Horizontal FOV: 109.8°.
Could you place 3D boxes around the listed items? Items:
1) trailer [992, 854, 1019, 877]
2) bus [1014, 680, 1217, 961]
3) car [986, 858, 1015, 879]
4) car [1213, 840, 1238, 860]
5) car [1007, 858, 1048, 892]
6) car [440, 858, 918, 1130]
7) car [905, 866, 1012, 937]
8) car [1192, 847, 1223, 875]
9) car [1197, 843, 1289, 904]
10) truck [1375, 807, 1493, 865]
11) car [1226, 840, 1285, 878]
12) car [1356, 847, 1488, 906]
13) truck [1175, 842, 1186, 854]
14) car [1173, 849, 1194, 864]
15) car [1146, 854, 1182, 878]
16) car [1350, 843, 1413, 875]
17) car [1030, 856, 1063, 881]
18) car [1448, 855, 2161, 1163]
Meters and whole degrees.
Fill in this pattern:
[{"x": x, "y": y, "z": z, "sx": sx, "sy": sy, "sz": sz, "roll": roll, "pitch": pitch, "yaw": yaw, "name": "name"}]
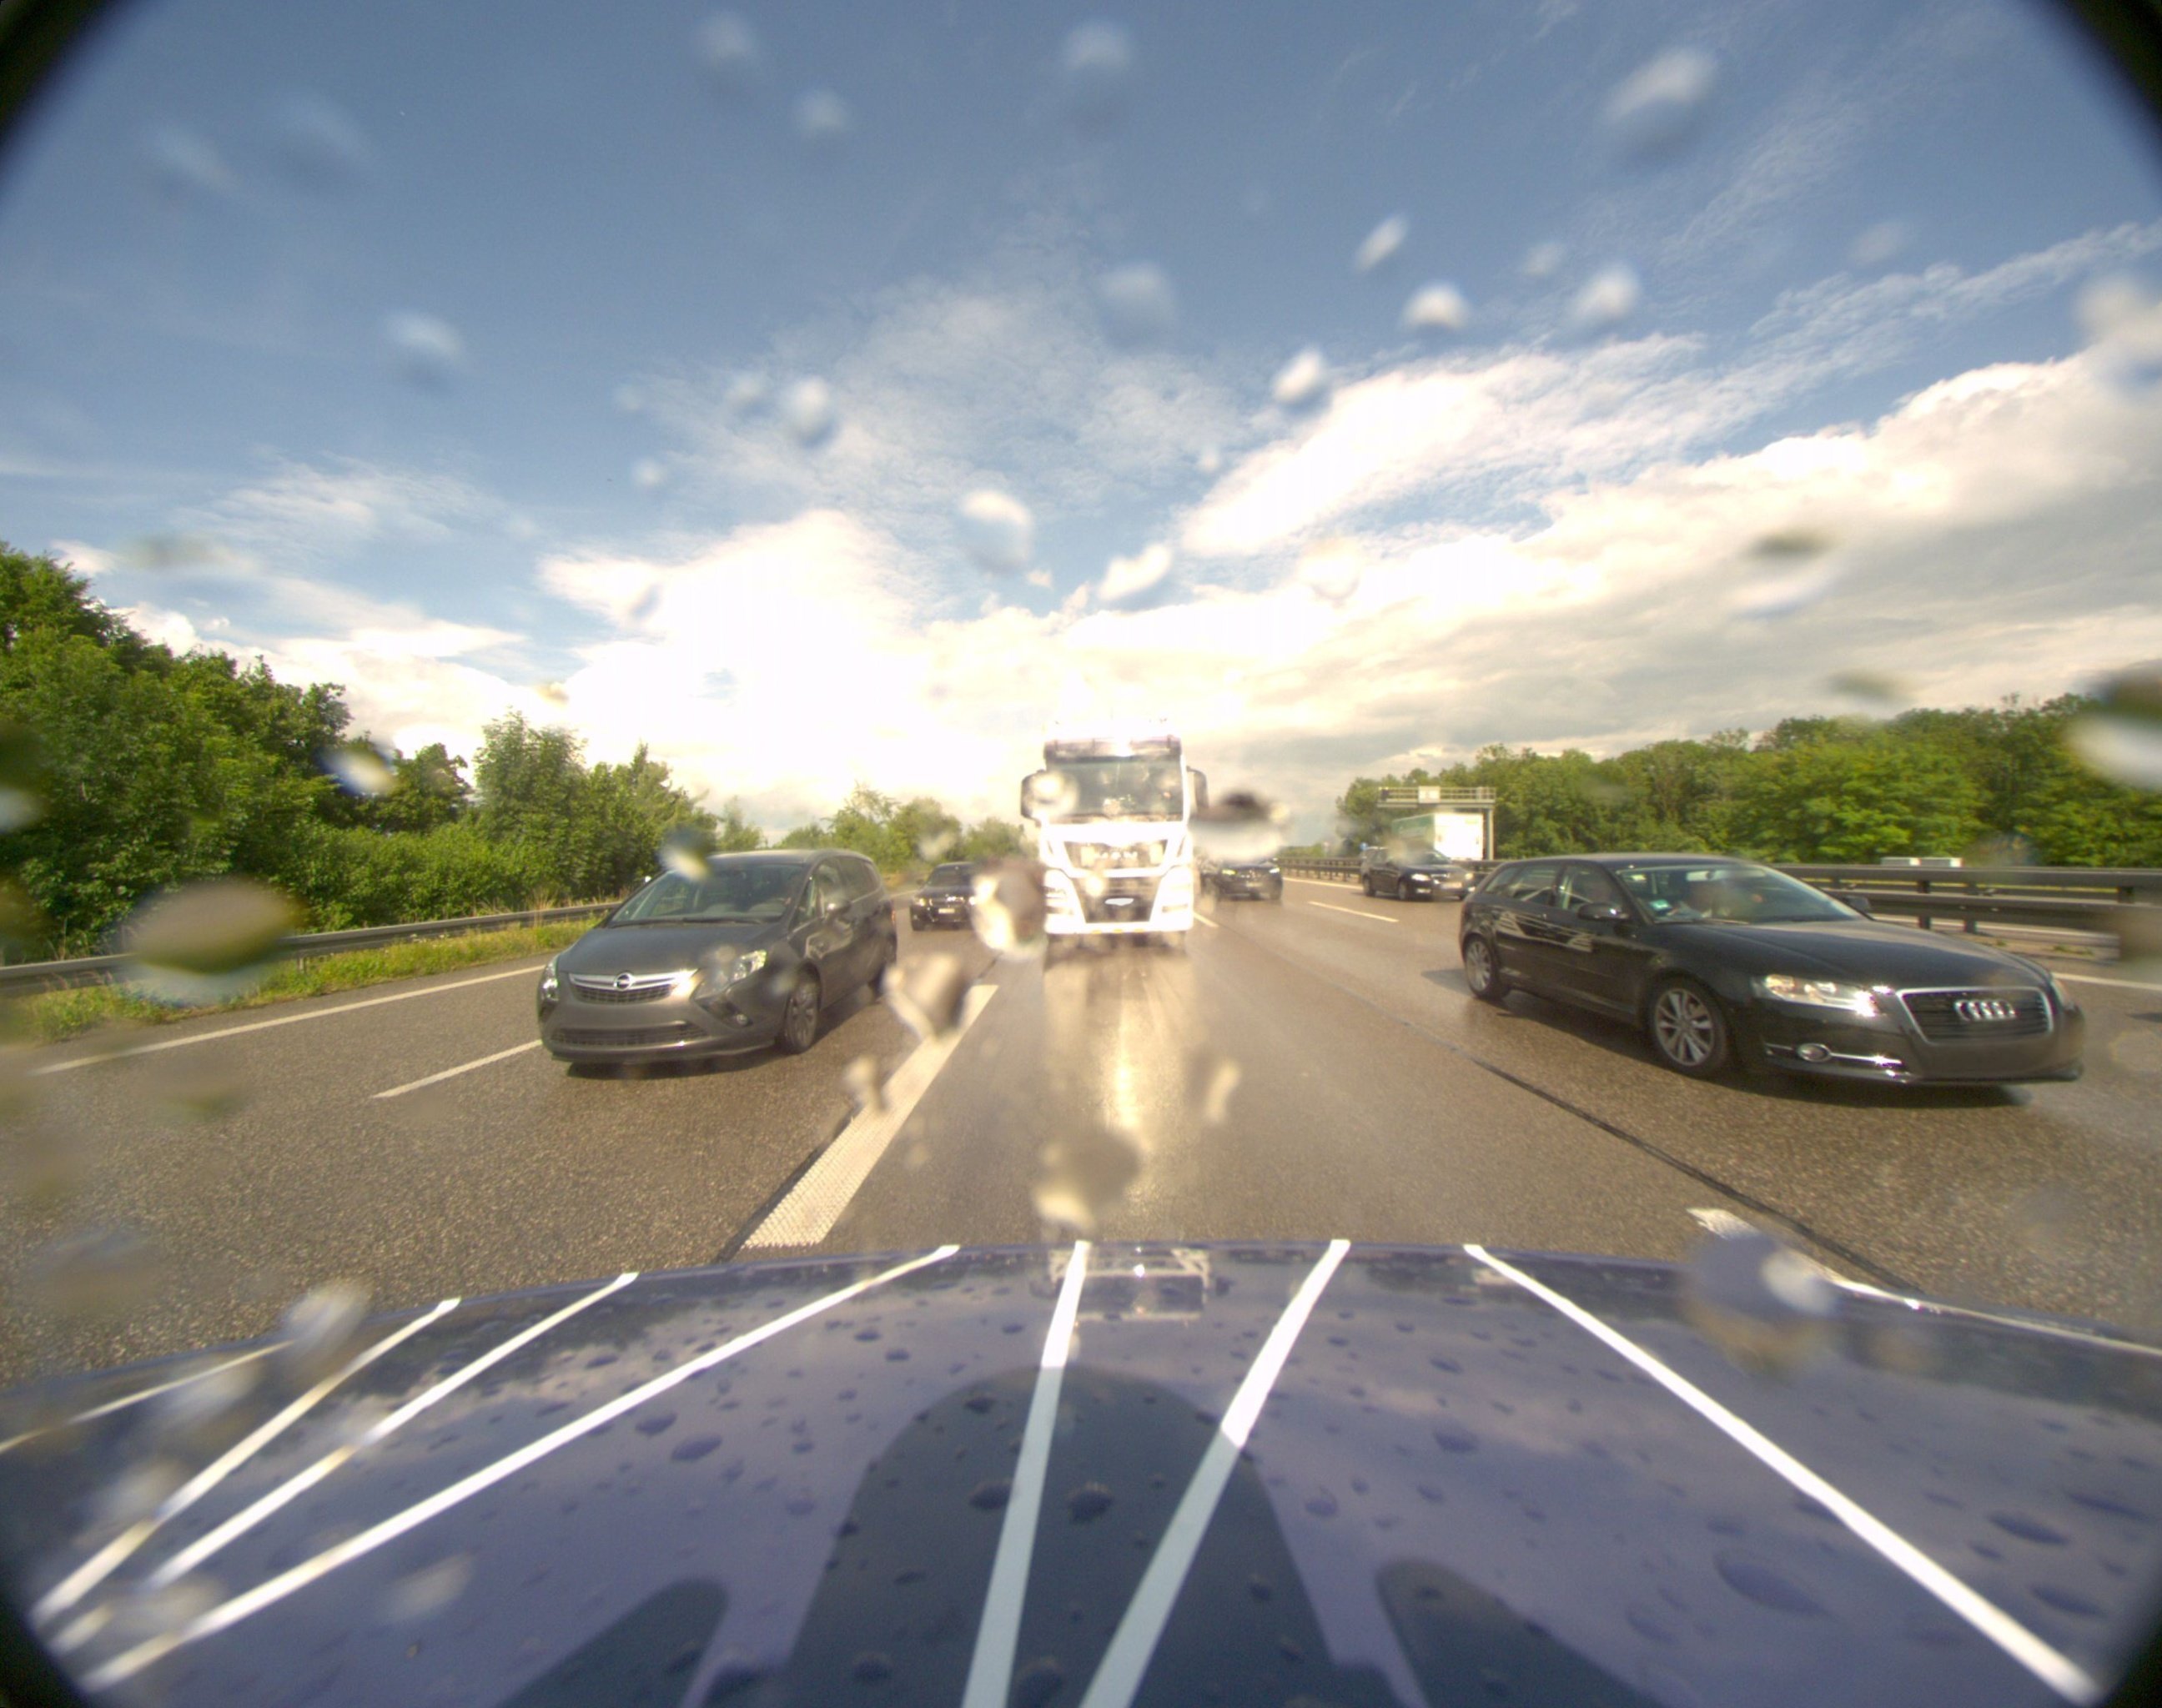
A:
[{"x": -6.228, "y": 0.937, "z": 62.852, "sx": 1.810, "sy": 1.736, "sz": 3.967, "roll": -3, "pitch": 1, "yaw": 0, "name": "trailer"}, {"x": 0.592, "y": -0.517, "z": 16.296, "sx": 2.904, "sy": 4.104, "sz": 9.845, "roll": -2, "pitch": 0, "yaw": 1, "name": "bus"}, {"x": -6.172, "y": 1.099, "z": 58.681, "sx": 1.747, "sy": 1.422, "sz": 4.404, "roll": -2, "pitch": 0, "yaw": -1, "name": "car"}, {"x": 18.259, "y": -0.473, "z": 96.260, "sx": 2.119, "sy": 2.382, "sz": 6.102, "roll": -2, "pitch": 0, "yaw": 1, "name": "car"}, {"x": -2.399, "y": 0.907, "z": 34.567, "sx": 1.744, "sy": 1.357, "sz": 3.999, "roll": -2, "pitch": 0, "yaw": -3, "name": "car"}, {"x": -3.042, "y": 0.900, "z": 7.160, "sx": 1.858, "sy": 1.622, "sz": 4.735, "roll": -2, "pitch": 0, "yaw": 1, "name": "car"}, {"x": -2.681, "y": 0.994, "z": 17.455, "sx": 1.722, "sy": 1.346, "sz": 3.884, "roll": -2, "pitch": 0, "yaw": 1, "name": "car"}, {"x": 7.461, "y": 0.376, "z": 44.998, "sx": 1.409, "sy": 1.588, "sz": 2.830, "roll": -2, "pitch": 0, "yaw": 1, "name": "car"}, {"x": 4.925, "y": 0.527, "z": 23.689, "sx": 1.881, "sy": 1.669, "sz": 4.626, "roll": -2, "pitch": 0, "yaw": 1, "name": "car"}, {"x": 20.557, "y": -1.004, "z": 44.998, "sx": 2.923, "sy": 2.970, "sz": 8.721, "roll": -2, "pitch": 1, "yaw": 0, "name": "truck"}, {"x": 9.457, "y": 0.238, "z": 41.609, "sx": 1.998, "sy": 1.906, "sz": 5.235, "roll": -2, "pitch": 0, "yaw": 0, "name": "car"}, {"x": 9.387, "y": 0.552, "z": 21.343, "sx": 1.924, "sy": 1.416, "sz": 4.373, "roll": -2, "pitch": 1, "yaw": 3, "name": "car"}, {"x": 33.111, "y": -1.961, "z": 252.994, "sx": 2.799, "sy": 3.861, "sz": 8.919, "roll": -2, "pitch": 0, "yaw": 3, "name": "truck"}, {"x": 10.302, "y": 0.233, "z": 76.473, "sx": 1.618, "sy": 1.412, "sz": 4.000, "roll": -2, "pitch": 0, "yaw": 1, "name": "car"}, {"x": 5.063, "y": 0.698, "z": 46.841, "sx": 1.809, "sy": 1.389, "sz": 4.240, "roll": -1, "pitch": 0, "yaw": 1, "name": "car"}, {"x": 16.917, "y": 0.256, "z": 43.002, "sx": 1.770, "sy": 1.633, "sz": 4.246, "roll": -2, "pitch": 0, "yaw": -2, "name": "car"}, {"x": -2.131, "y": 0.882, "z": 47.999, "sx": 1.858, "sy": 1.434, "sz": 3.999, "roll": -2, "pitch": 1, "yaw": -1, "name": "car"}, {"x": 4.586, "y": 0.756, "z": 5.700, "sx": 1.754, "sy": 1.425, "sz": 4.054, "roll": -2, "pitch": 0, "yaw": 1, "name": "car"}]
